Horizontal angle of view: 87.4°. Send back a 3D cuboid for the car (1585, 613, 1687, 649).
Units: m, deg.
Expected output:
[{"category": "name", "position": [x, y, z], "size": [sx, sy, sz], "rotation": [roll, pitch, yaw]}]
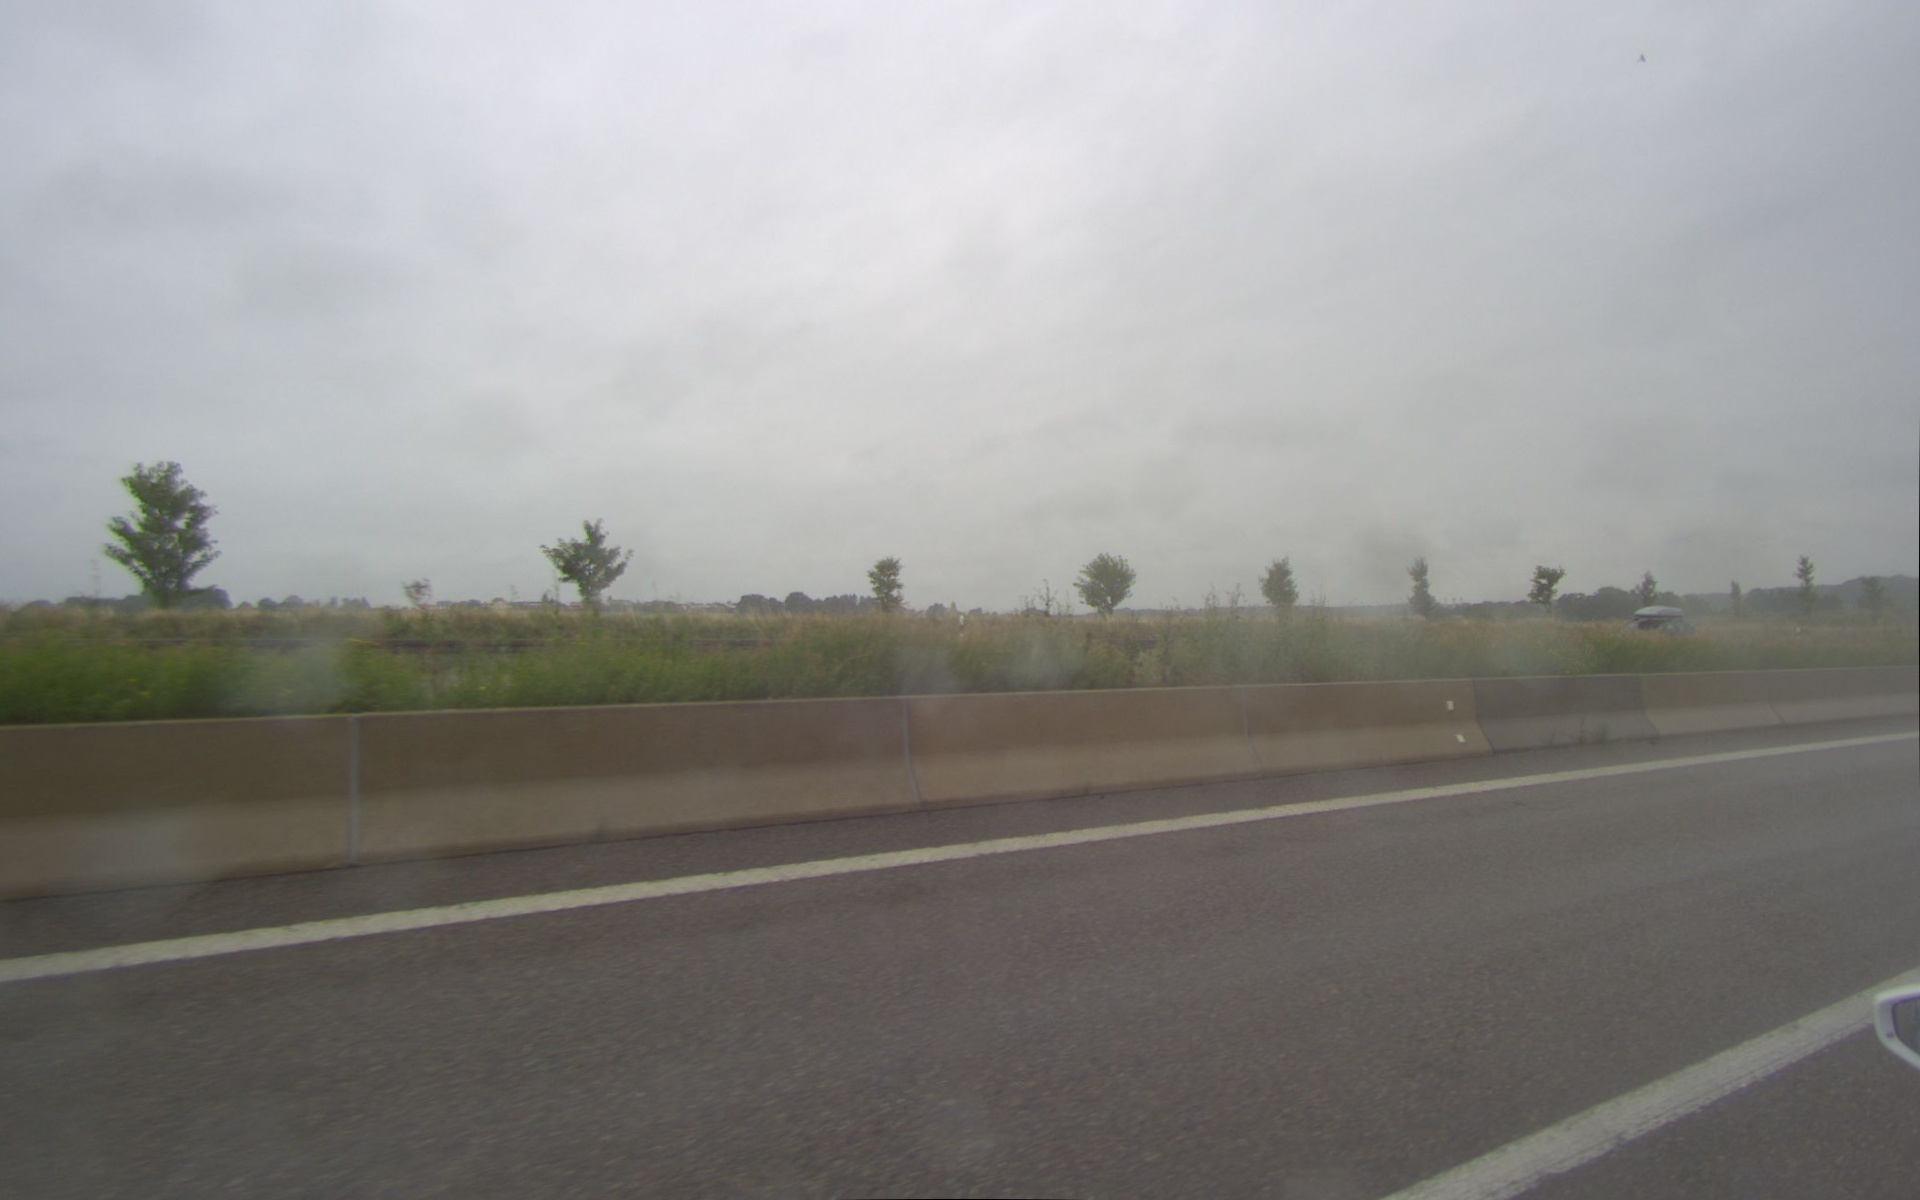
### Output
[{"category": "car", "position": [25.219, 1.145, 37.463], "size": [3.752, 1.274, 1.639], "rotation": [1, -1, -30]}]
